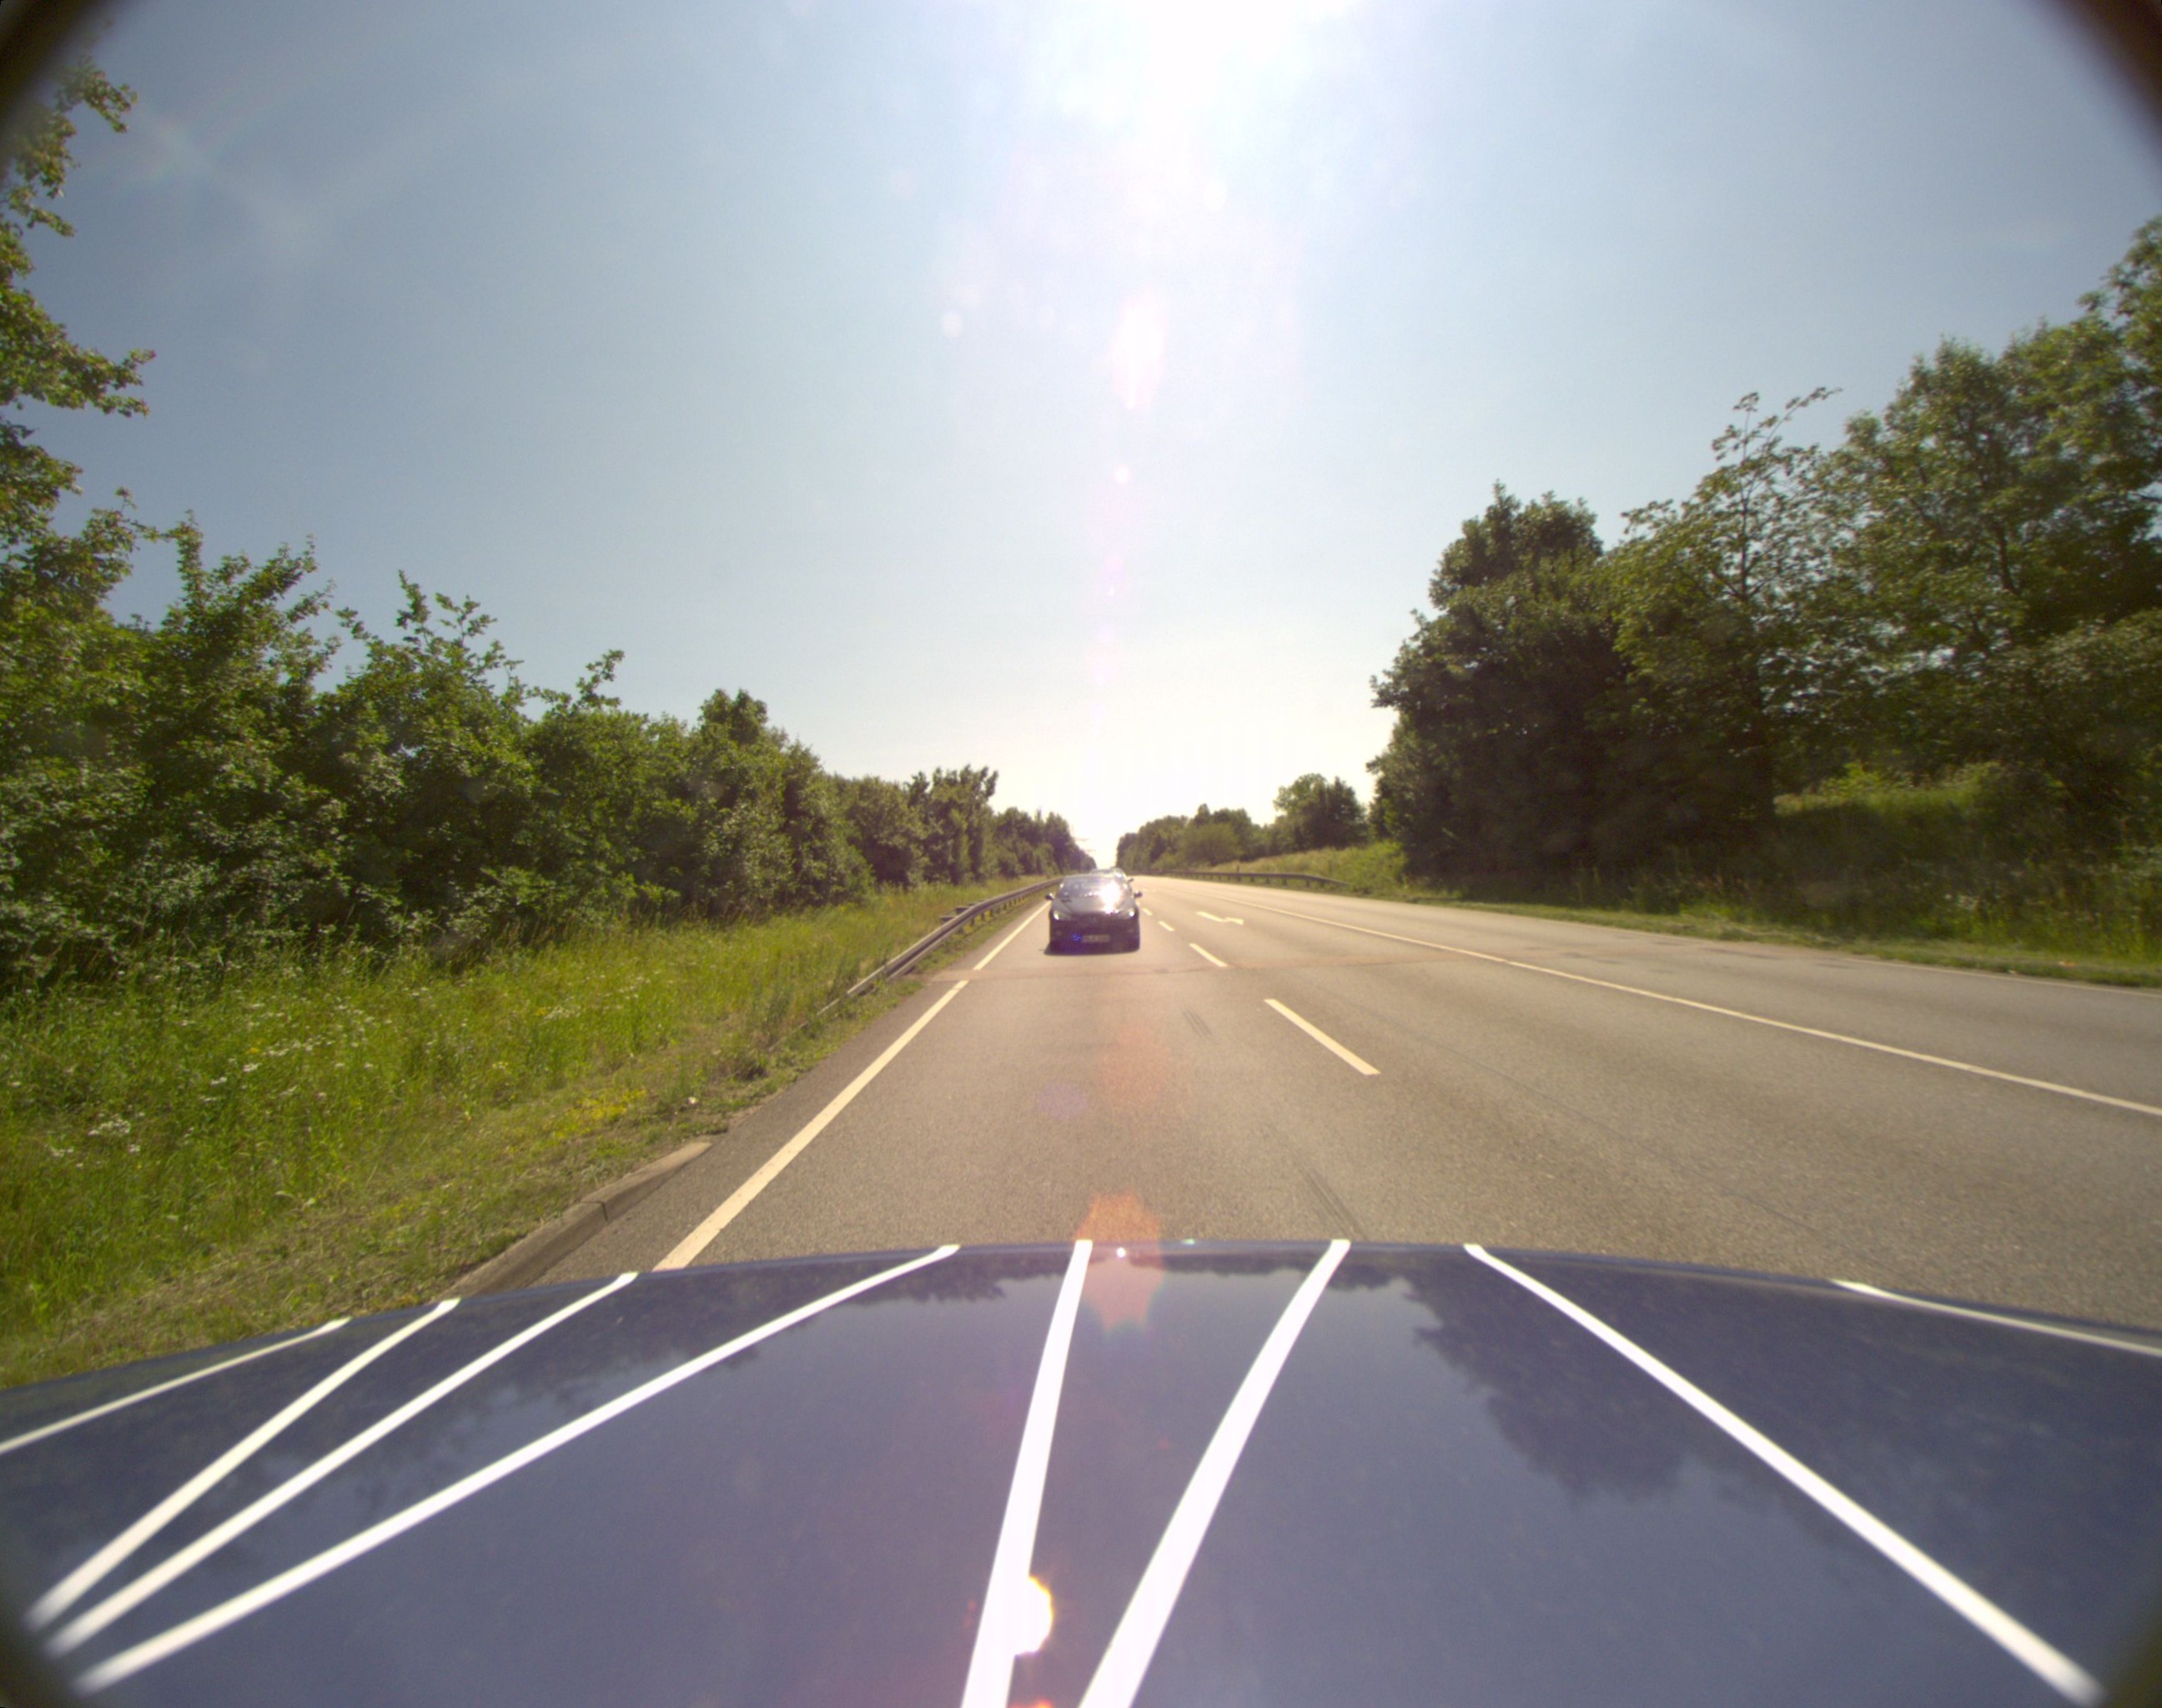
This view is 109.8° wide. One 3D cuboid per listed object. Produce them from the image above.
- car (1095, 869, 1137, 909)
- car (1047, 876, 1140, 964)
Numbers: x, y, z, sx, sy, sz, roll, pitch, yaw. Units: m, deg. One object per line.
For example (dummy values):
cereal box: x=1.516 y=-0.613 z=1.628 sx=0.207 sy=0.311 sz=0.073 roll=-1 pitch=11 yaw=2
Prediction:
car: x=1.332 y=1.342 z=29.851 sx=1.443 sy=1.442 sz=3.299 roll=-2 pitch=-1 yaw=0
car: x=0.269 y=1.158 z=14.502 sx=1.529 sy=1.387 sz=3.444 roll=-2 pitch=-1 yaw=2
